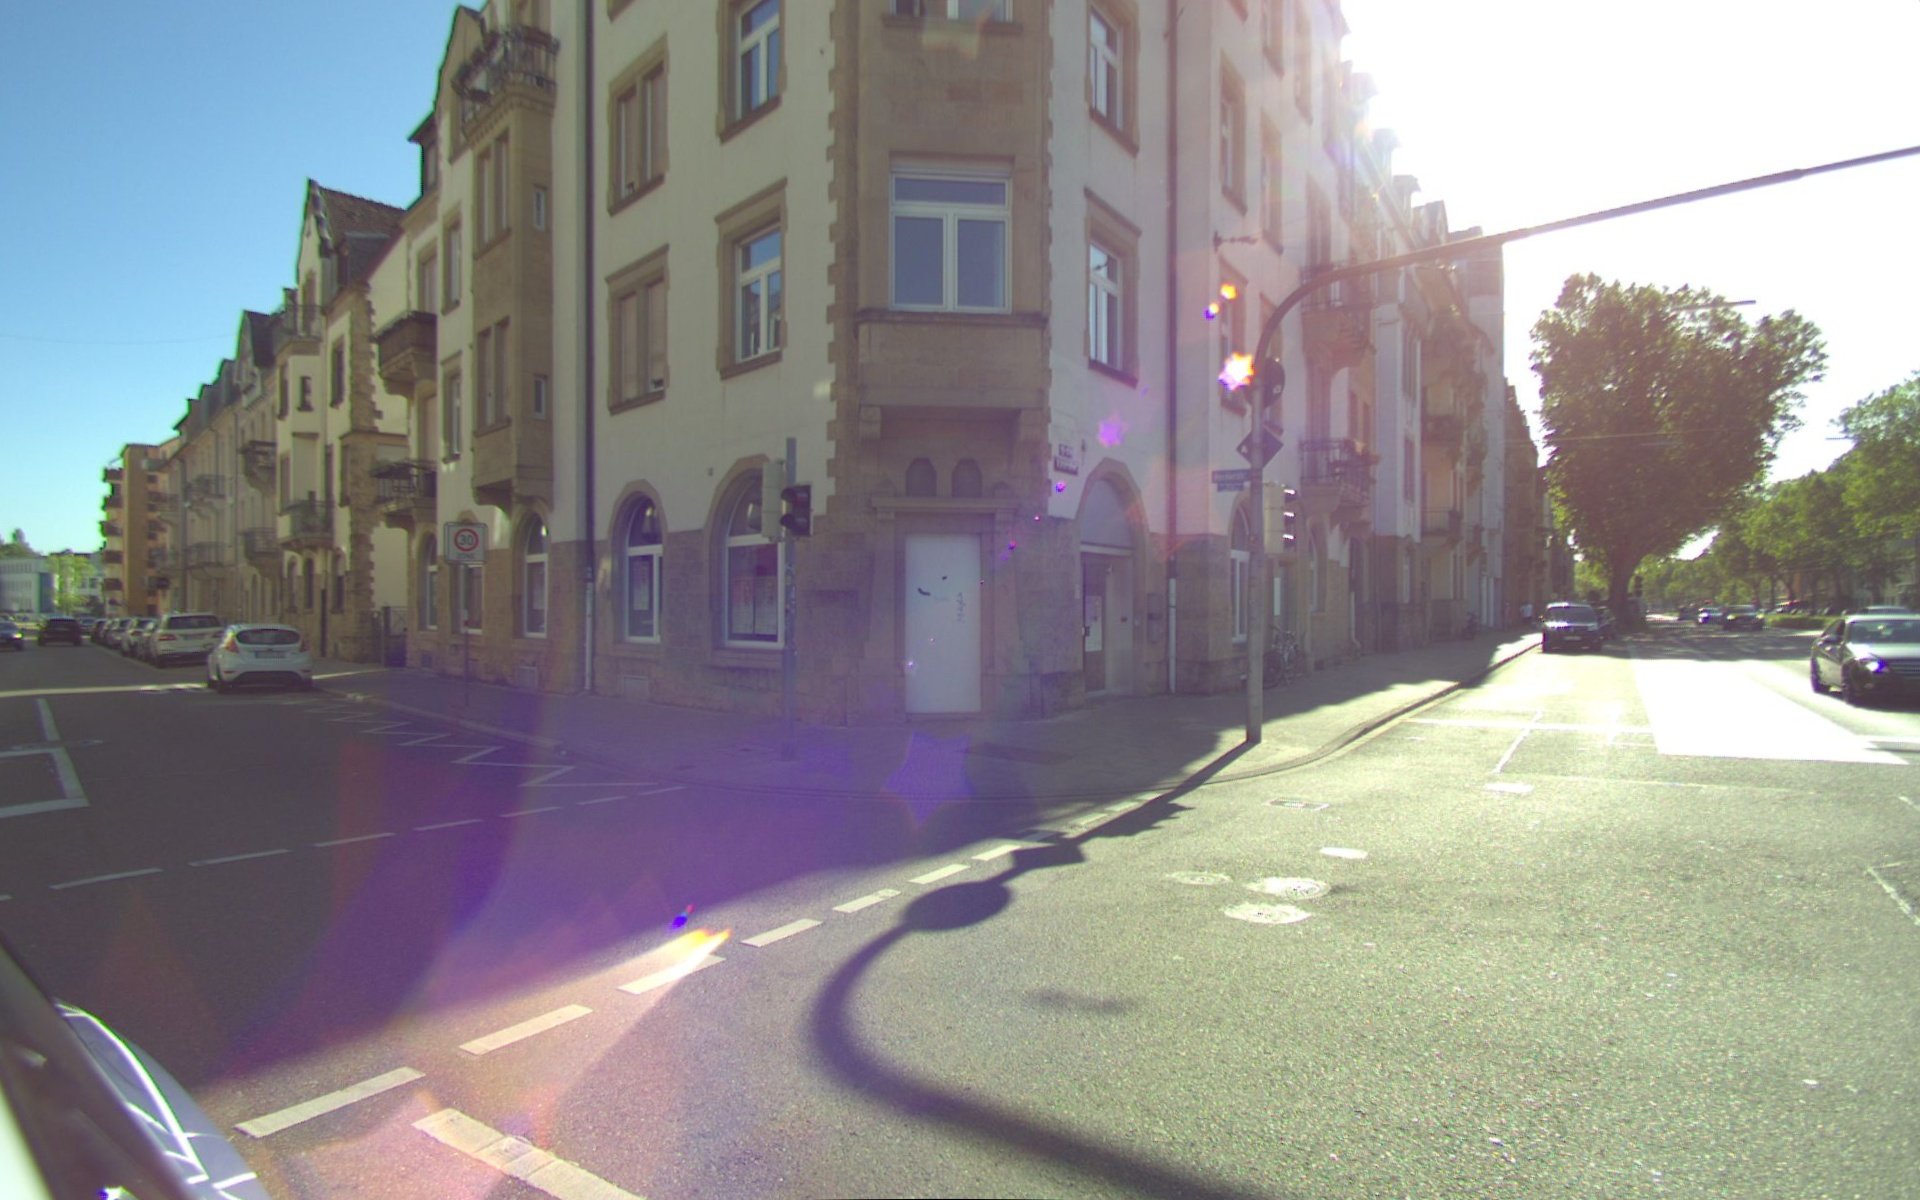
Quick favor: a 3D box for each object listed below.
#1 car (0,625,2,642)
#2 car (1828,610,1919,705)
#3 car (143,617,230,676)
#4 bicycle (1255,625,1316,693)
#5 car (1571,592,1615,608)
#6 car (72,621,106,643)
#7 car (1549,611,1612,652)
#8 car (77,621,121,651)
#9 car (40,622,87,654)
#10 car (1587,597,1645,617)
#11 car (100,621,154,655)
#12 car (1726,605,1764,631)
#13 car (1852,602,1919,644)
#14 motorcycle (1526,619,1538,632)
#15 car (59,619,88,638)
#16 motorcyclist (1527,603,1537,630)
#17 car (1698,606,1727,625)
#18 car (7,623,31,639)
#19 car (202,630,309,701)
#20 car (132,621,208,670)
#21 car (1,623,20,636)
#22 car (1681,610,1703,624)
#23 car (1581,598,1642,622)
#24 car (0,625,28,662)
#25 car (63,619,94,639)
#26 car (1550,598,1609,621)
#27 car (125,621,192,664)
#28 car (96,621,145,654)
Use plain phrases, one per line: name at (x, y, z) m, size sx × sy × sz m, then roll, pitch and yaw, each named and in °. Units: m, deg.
car at (-100.198, 3.482, 104.382) m, size 1.850 × 1.679 × 4.005 m, roll -2°, pitch 1°, yaw -42°
car at (15.611, 0.874, 16.496) m, size 1.762 × 1.400 × 3.851 m, roll -2°, pitch -1°, yaw 35°
car at (-25.556, 1.463, 33.379) m, size 1.890 × 1.671 × 4.352 m, roll -4°, pitch 2°, yaw -42°
bicycle at (5.898, 1.039, 18.281) m, size 0.608 × 1.142 × 1.790 m, roll -1°, pitch -1°, yaw 33°
car at (70.381, -0.001, 112.588) m, size 3.778 × 1.718 × 1.835 m, roll -2°, pitch 1°, yaw 19°
car at (-73.617, 2.694, 85.507) m, size 1.890 × 1.636 × 4.350 m, roll -4°, pitch 2°, yaw -44°
car at (22.679, 1.125, 36.918) m, size 1.762 × 1.400 × 3.851 m, roll -1°, pitch -1°, yaw 35°
car at (-54.628, 2.240, 64.185) m, size 1.890 × 1.636 × 4.351 m, roll -4°, pitch 2°, yaw -42°
car at (-51.251, 2.171, 57.920) m, size 1.889 × 1.741 × 4.353 m, roll 1°, pitch -2°, yaw -41°
car at (64.774, 0.686, 99.911) m, size 4.523 × 1.718 × 1.848 m, roll -2°, pitch 1°, yaw -4°
car at (-42.941, 1.909, 52.142) m, size 1.890 × 1.529 × 4.352 m, roll -4°, pitch 2°, yaw -42°
car at (49.360, 1.117, 63.626) m, size 1.722 × 1.564 × 3.946 m, roll -1°, pitch -1°, yaw 40°
car at (37.367, 0.898, 40.590) m, size 1.761 × 1.541 × 3.853 m, roll -3°, pitch -2°, yaw 33°
motorcycle at (31.616, 1.386, 55.941) m, size 0.542 × 0.682 × 1.285 m, roll 0°, pitch 0°, yaw 31°
car at (-85.097, 2.720, 97.136) m, size 1.890 × 1.636 × 4.350 m, roll -4°, pitch 2°, yaw -44°
motorcyclist at (31.632, 0.895, 55.957) m, size 0.450 × 1.458 × 0.551 m, roll 0°, pitch 0°, yaw 31°
car at (62.507, 1.270, 84.092) m, size 1.722 × 1.564 × 3.743 m, roll -1°, pitch -1°, yaw 40°
car at (-108.323, 3.586, 116.521) m, size 1.850 × 1.679 × 4.005 m, roll -2°, pitch 1°, yaw -42°
car at (-15.529, 1.392, 22.241) m, size 1.533 × 1.422 × 3.576 m, roll 3°, pitch -3°, yaw -41°
car at (-29.517, 1.641, 37.773) m, size 1.890 × 1.529 × 4.352 m, roll -4°, pitch 2°, yaw -42°
car at (-134.432, 4.151, 143.319) m, size 1.850 × 1.679 × 4.005 m, roll -2°, pitch 1°, yaw -42°
car at (82.347, 1.909, 113.893) m, size 1.722 × 1.564 × 3.743 m, roll -1°, pitch -1°, yaw 40°
car at (52.573, 0.794, 81.693) m, size 3.750 × 1.718 × 1.849 m, roll -2°, pitch 1°, yaw -6°
car at (-47.226, 2.139, 49.853) m, size 1.850 × 1.679 × 4.005 m, roll -2°, pitch 1°, yaw -42°
car at (-81.046, 2.634, 93.053) m, size 1.890 × 1.636 × 4.350 m, roll -4°, pitch 2°, yaw -44°
car at (51.531, 0.741, 84.213) m, size 3.750 × 1.718 × 1.849 m, roll -2°, pitch 1°, yaw -6°
car at (-33.417, 1.716, 42.154) m, size 1.890 × 1.529 × 4.352 m, roll -4°, pitch 2°, yaw -42°
car at (-47.247, 2.082, 56.924) m, size 1.890 × 1.636 × 4.352 m, roll -4°, pitch 2°, yaw -42°
